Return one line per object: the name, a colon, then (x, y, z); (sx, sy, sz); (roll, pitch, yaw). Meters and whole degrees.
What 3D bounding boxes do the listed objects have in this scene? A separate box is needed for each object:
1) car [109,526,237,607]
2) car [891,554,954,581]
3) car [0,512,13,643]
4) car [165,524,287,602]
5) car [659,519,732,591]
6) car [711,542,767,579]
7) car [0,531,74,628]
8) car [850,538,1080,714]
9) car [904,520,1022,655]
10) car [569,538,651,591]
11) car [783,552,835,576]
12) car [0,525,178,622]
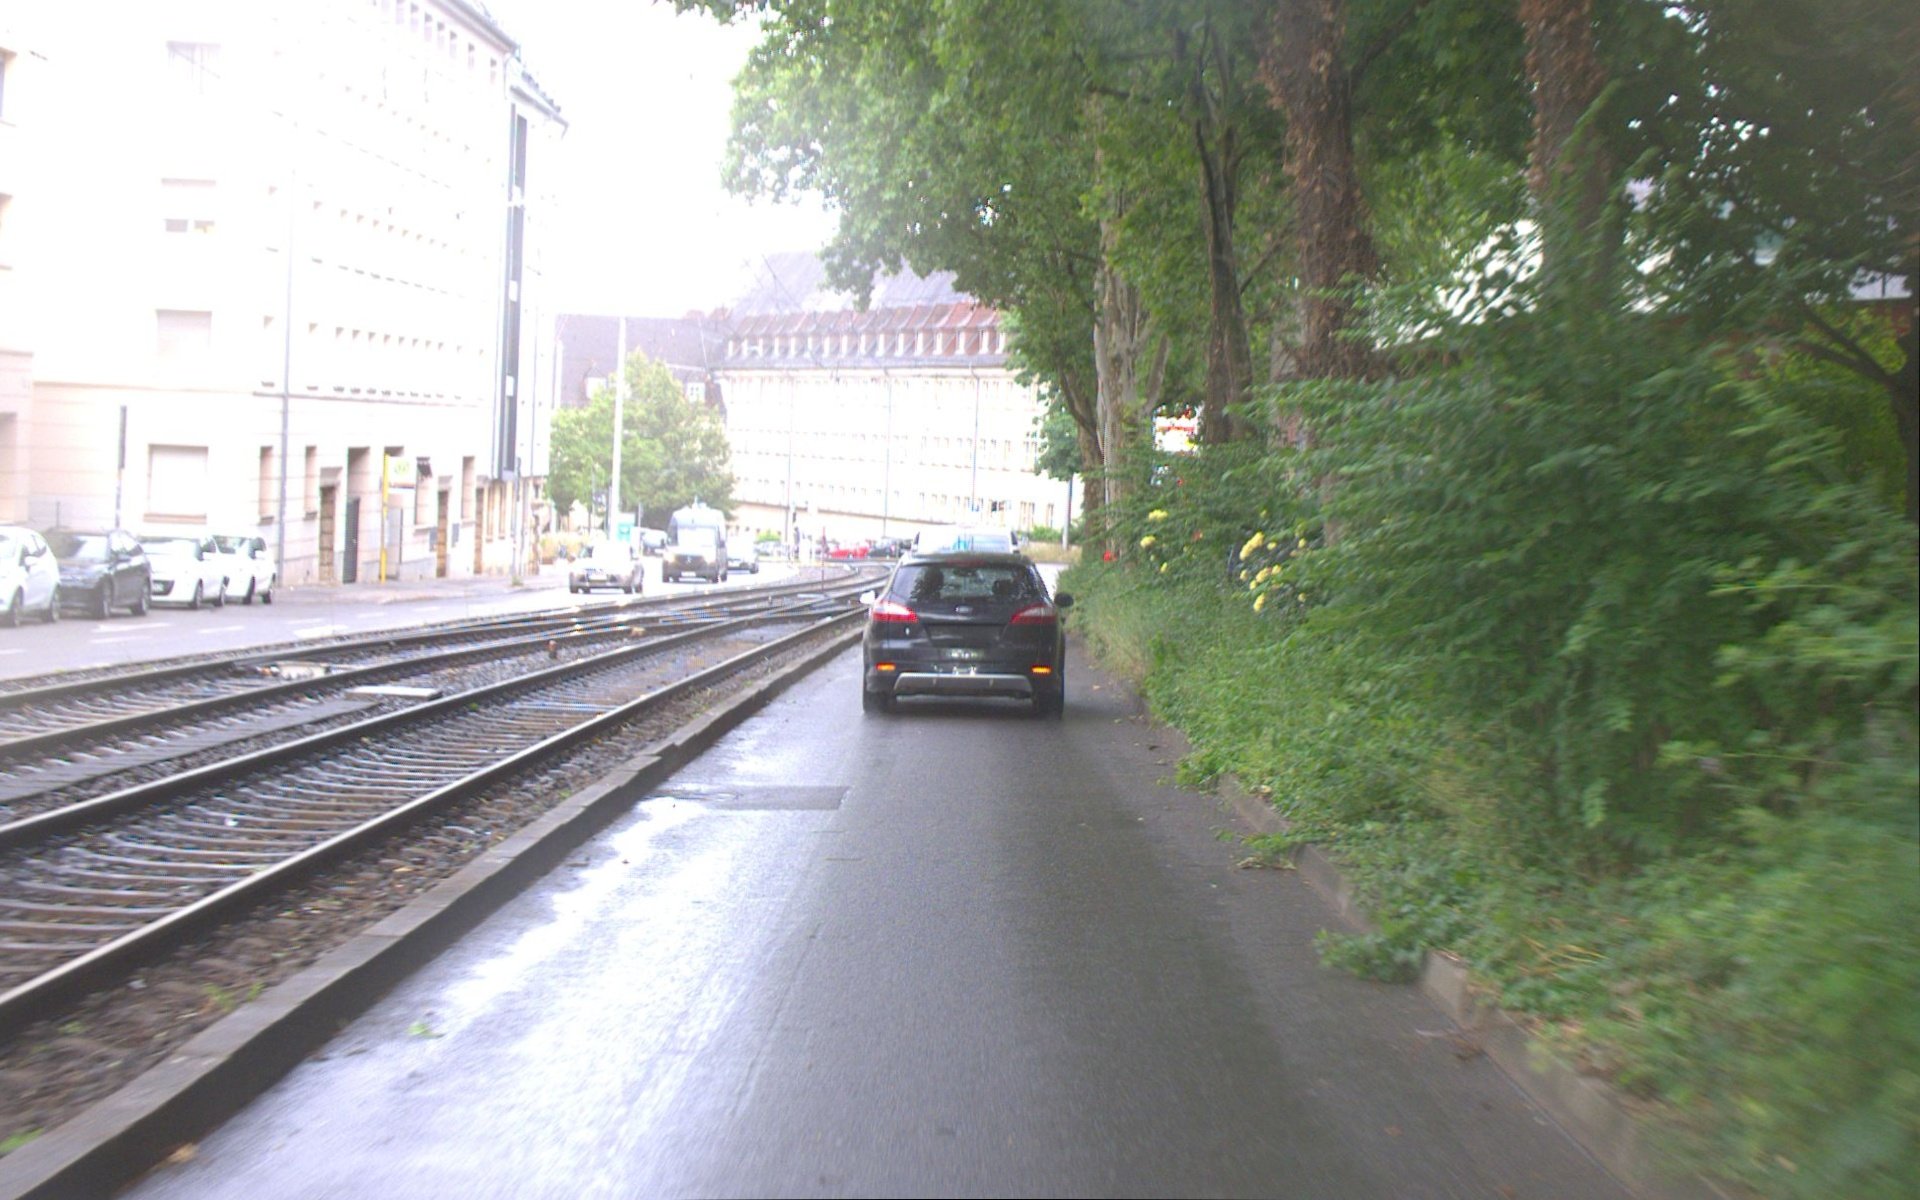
car: (-14.878, -0.645, 65.125); (1.703, 1.392, 3.936); (3, 1, -4)
car: (-2.329, -1.995, 210.538); (1.993, 1.537, 4.000); (2, 0, -33)
car: (-15.007, -0.373, 47.314); (1.994, 1.898, 5.458); (3, 0, 4)
car: (-14.880, -0.730, 69.856); (1.708, 1.445, 3.542); (4, 0, -1)
car: (-9.562, -1.599, 124.678); (1.993, 2.443, 5.998); (2, -1, 1)
car: (-9.205, -1.656, 143.563); (1.880, 1.481, 4.854); (2, 1, 1)
car: (-14.925, -0.307, 52.602); (1.691, 1.434, 4.049); (0, 0, 0)
car: (-0.009, 0.224, 32.058); (1.933, 1.448, 4.318); (3, 0, -1)
car: (0.010, -0.184, 54.506); (1.740, 2.007, 3.904); (2, 0, -1)
car: (-9.990, -1.002, 98.355); (1.712, 1.457, 4.280); (1, 0, 2)
car: (-9.893, -2.346, 224.743); (1.993, 1.537, 4.001); (0, 1, -26)
car: (-14.700, -0.450, 58.126); (1.813, 1.494, 4.582); (3, 0, 1)
